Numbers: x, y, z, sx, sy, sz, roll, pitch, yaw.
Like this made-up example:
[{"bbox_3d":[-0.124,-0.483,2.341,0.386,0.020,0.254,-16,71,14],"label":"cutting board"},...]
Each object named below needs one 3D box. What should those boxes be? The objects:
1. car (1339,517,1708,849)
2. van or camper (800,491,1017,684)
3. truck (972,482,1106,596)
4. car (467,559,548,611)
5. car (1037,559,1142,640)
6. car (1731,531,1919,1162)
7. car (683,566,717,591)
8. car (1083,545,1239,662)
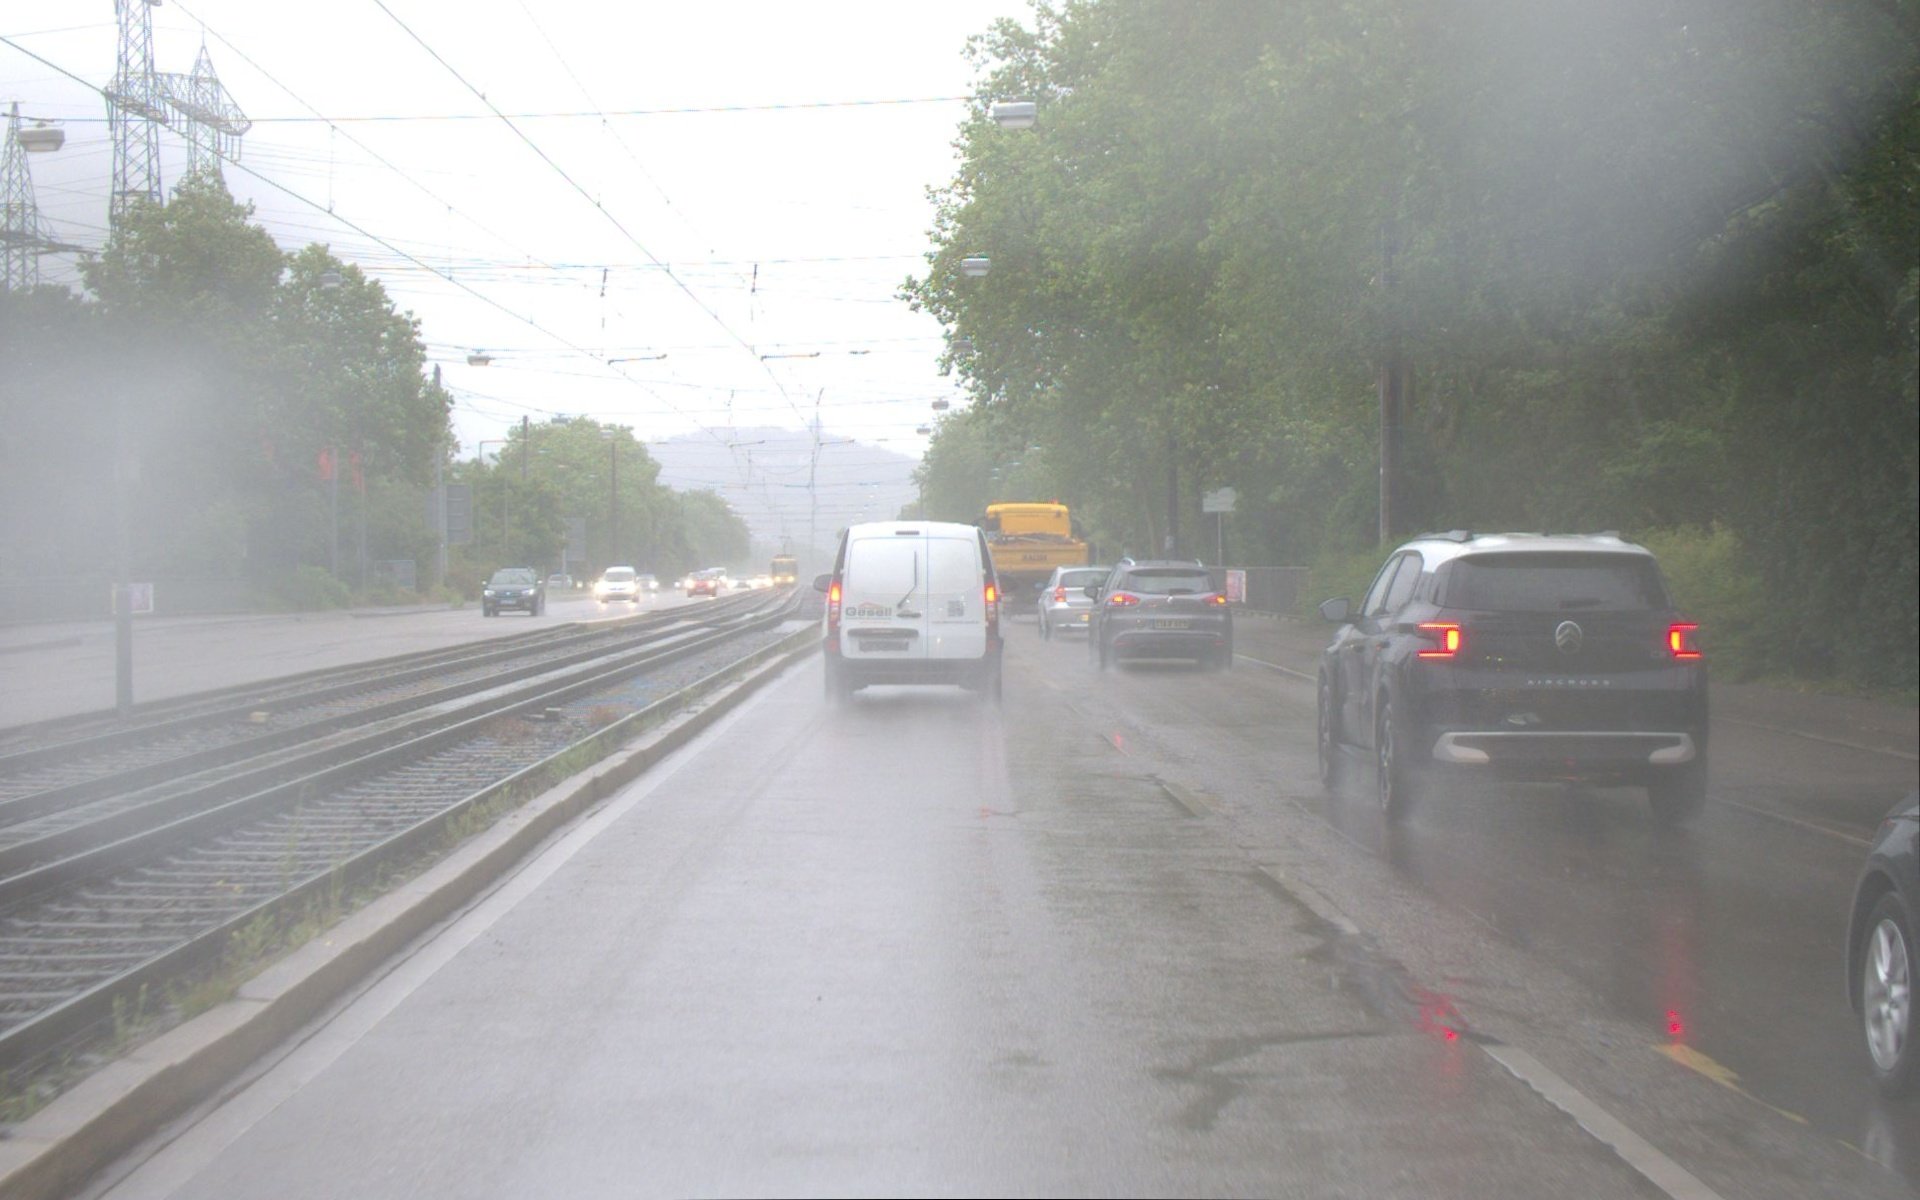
[{"bbox_3d":[3.338,0.379,20.615,1.900,1.711,4.724,1,2,9],"label":"car"},{"bbox_3d":[-0.584,-0.180,34.765,1.993,1.778,4.001,1,2,-3],"label":"van or camper"},{"bbox_3d":[1.948,-1.549,87.263,3.113,2.763,6.330,1,1,-1],"label":"truck"},{"bbox_3d":[-14.617,-0.490,111.270,1.993,1.612,4.253,-1,1,1],"label":"car"},{"bbox_3d":[2.437,-0.032,65.233,1.818,1.409,3.779,1,2,0],"label":"car"},{"bbox_3d":[3.351,0.634,8.169,1.967,1.523,3.991,1,2,-2],"label":"car"},{"bbox_3d":[-15.516,-1.301,205.376,1.657,1.481,4.013,0,1,1],"label":"car"},{"bbox_3d":[2.623,0.018,45.611,1.818,1.409,3.779,1,2,0],"label":"car"}]
